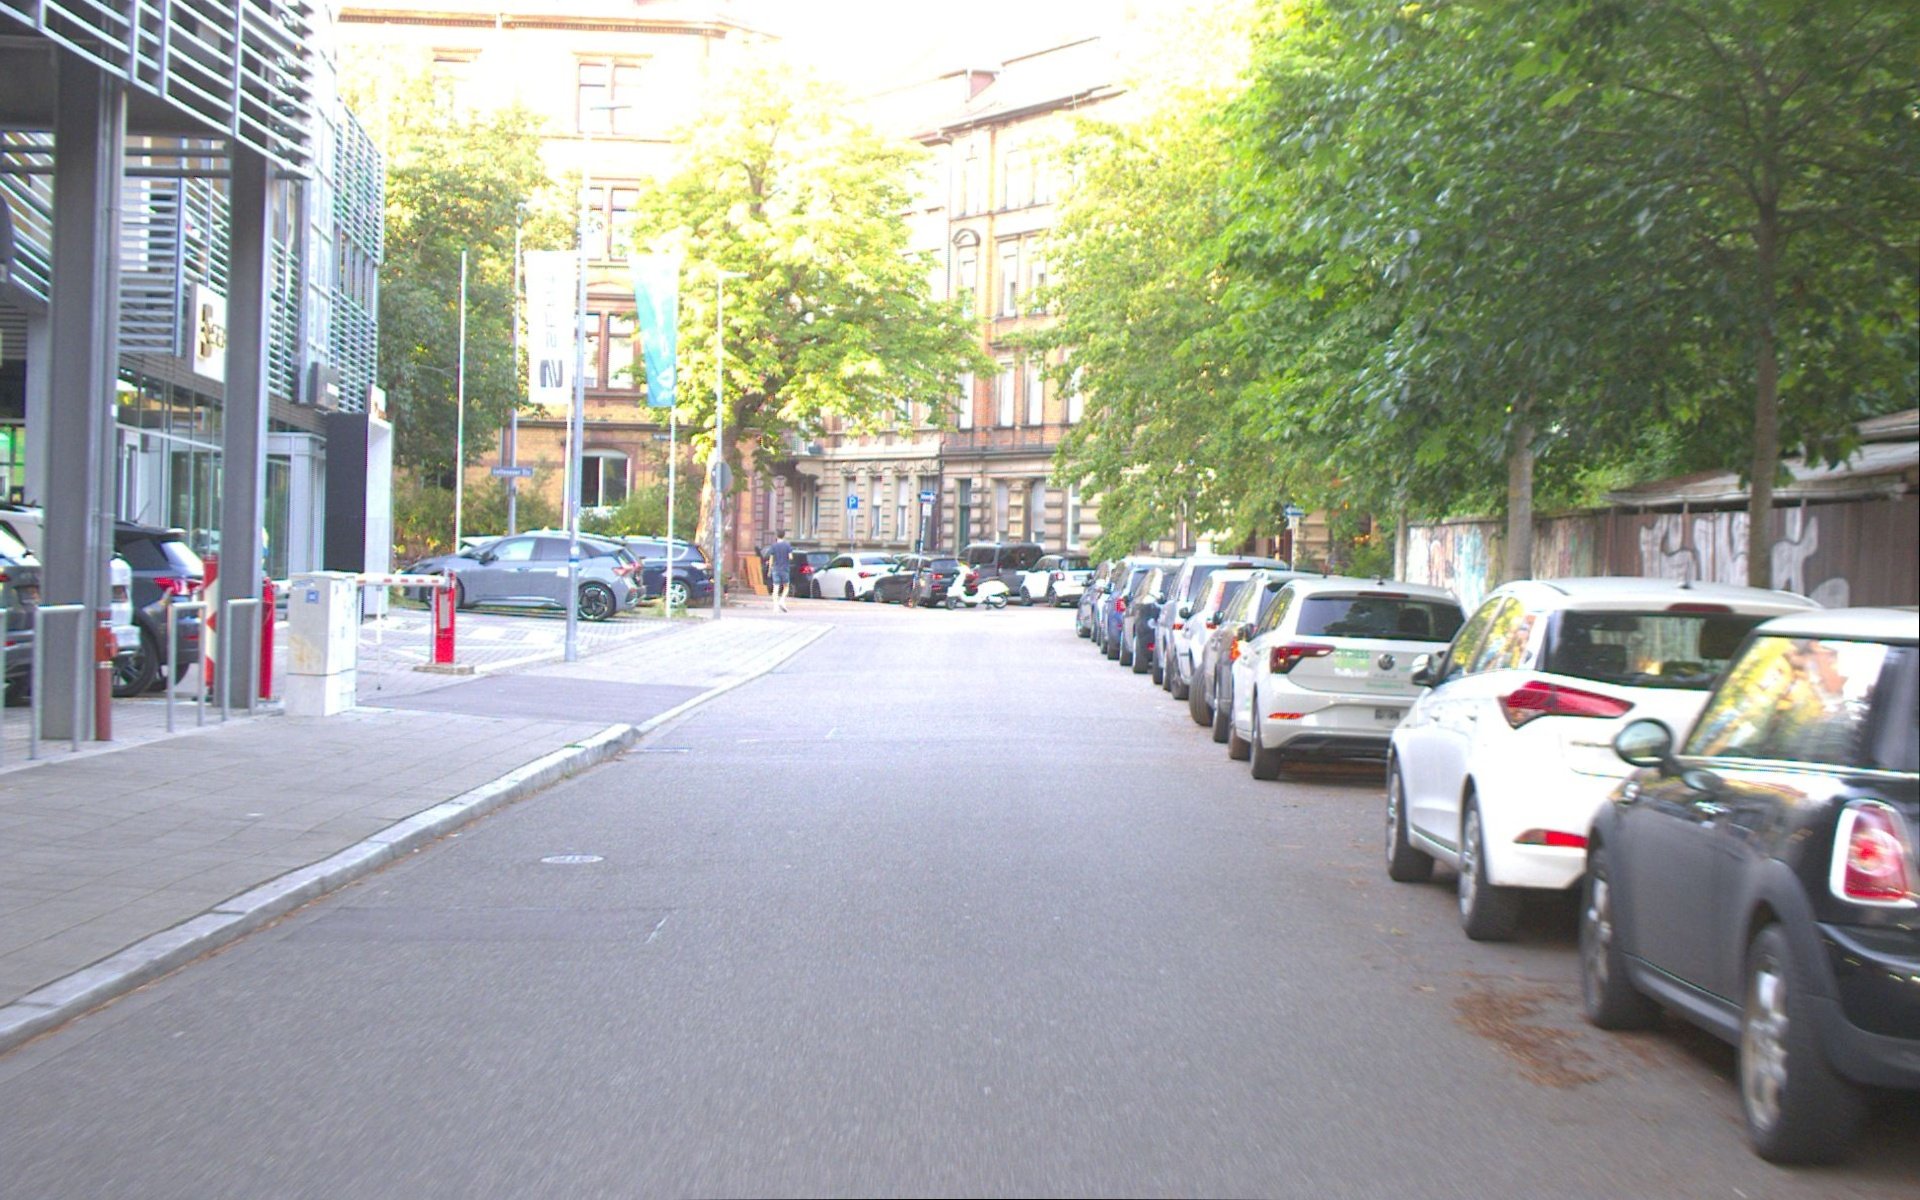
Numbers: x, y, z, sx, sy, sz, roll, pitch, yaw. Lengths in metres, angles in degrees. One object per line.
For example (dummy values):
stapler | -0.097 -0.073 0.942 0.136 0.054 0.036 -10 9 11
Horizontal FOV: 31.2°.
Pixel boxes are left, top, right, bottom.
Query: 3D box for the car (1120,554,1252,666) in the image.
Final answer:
car | 3.149 0.112 48.444 1.597 1.471 3.774 1 1 0

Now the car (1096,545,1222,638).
car | 3.319 -0.159 57.894 1.695 1.471 3.560 1 1 -3

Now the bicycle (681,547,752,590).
bicycle | -6.037 -0.774 85.316 1.671 1.024 0.446 1 2 -23

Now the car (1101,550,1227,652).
car | 3.118 -0.018 53.151 1.695 1.471 4.117 1 1 0

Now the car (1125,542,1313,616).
car | 5.602 -0.444 74.112 1.880 1.461 3.961 4 2 44

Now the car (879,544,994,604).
car | -0.665 -0.722 94.007 1.654 1.426 3.991 1 2 -23

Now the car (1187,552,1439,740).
car | 3.041 0.347 30.411 1.759 1.449 4.393 1 1 0

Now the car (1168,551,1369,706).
car | 3.203 0.254 36.347 1.759 1.436 3.874 1 2 0

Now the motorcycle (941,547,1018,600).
motorcycle | 0.503 -0.709 90.645 1.931 1.336 0.577 1 2 -10

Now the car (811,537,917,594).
car | -2.766 -0.988 98.329 1.654 1.426 4.168 2 2 -22

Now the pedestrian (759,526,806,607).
pedestrian | -4.041 -0.762 78.018 0.735 1.798 1.122 1 2 -20

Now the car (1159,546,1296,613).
car | 7.008 -0.549 90.378 1.914 1.520 3.897 1 3 -24

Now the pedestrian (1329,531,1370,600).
pedestrian | 10.321 -0.918 91.156 0.773 1.798 0.843 1 2 -14

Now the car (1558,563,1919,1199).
car | 2.819 0.674 9.862 1.563 1.445 3.454 1 2 0

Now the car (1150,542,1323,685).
car | 3.282 0.128 41.440 1.759 1.598 3.874 1 1 0

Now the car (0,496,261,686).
car | -8.336 -0.094 30.216 3.986 1.580 1.860 1 -1 -1

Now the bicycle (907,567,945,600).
bicycle | -0.869 -0.429 88.556 0.425 0.819 1.460 2 2 22

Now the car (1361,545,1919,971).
car | 2.876 0.569 15.067 1.722 1.514 4.026 1 2 0

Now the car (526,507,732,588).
car | -7.952 -1.265 82.686 4.828 1.726 1.921 2 2 -5

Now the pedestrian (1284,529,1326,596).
pedestrian | 9.379 -1.014 93.405 0.840 1.798 0.776 1 2 -20

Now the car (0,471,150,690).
car | -8.788 -0.220 27.593 4.080 1.678 1.860 1 2 2

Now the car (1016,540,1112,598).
car | 2.978 -0.902 98.921 1.674 1.520 2.768 2 2 -24

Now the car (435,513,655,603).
car | -8.038 -0.822 66.857 4.067 1.612 1.765 1 2 -1

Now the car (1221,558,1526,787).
car | 2.967 0.470 25.425 1.759 1.437 4.006 1 2 0

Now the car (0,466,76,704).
car | -8.778 -0.182 25.165 4.087 1.678 1.860 1 2 2

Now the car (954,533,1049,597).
car | 1.219 -1.050 102.464 1.674 1.776 3.016 1 2 -24

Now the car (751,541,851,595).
car | -4.792 -0.970 102.896 1.654 1.426 3.897 1 2 -24

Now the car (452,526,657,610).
car | -8.374 -0.675 71.230 4.045 1.470 1.921 3 2 -3

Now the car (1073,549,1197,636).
car | 3.135 -0.158 62.304 1.695 1.471 4.213 1 1 -4

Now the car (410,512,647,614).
car | -7.982 -0.700 63.850 4.129 1.612 1.913 3 2 -1

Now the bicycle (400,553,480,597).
bicycle | -12.523 -0.601 82.816 1.854 1.024 0.446 1 2 -23
